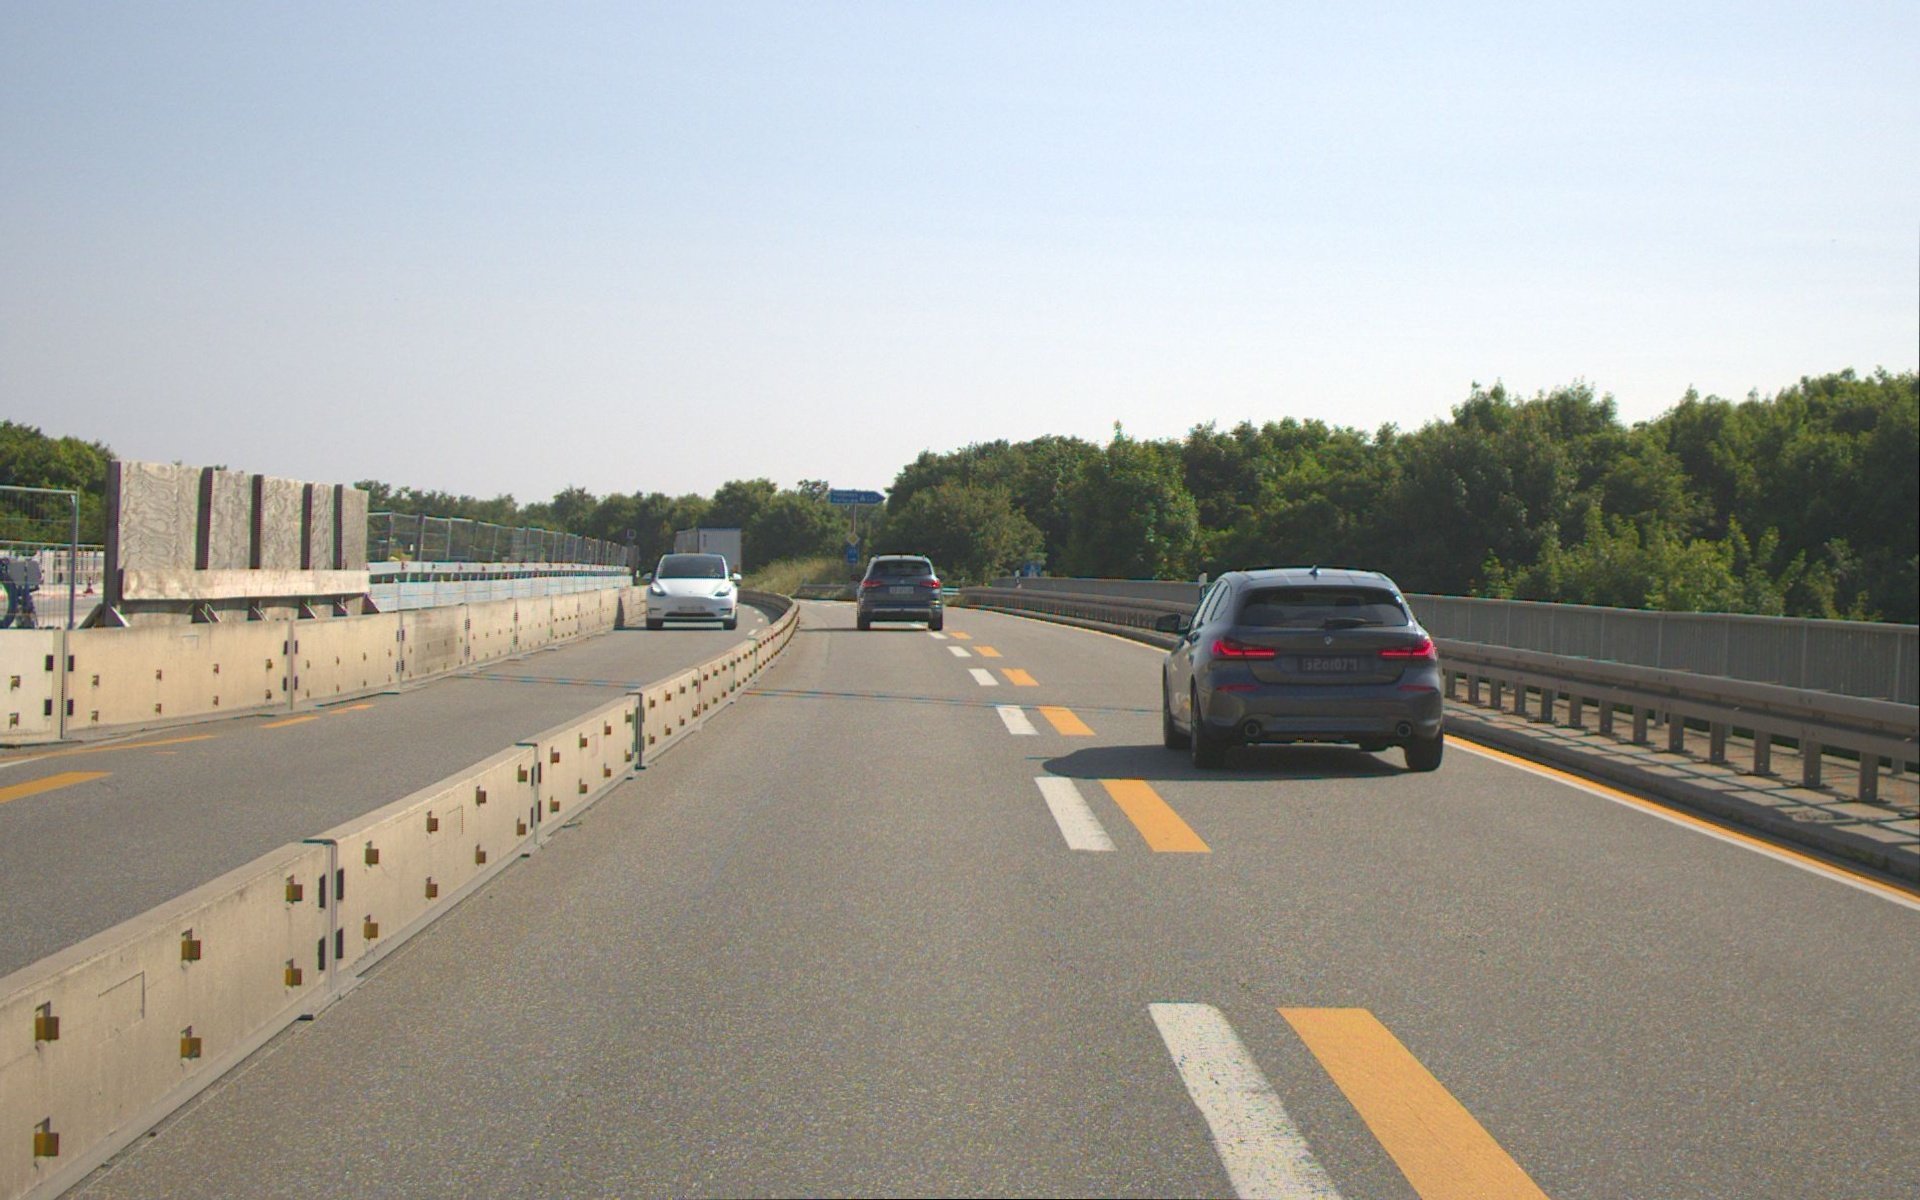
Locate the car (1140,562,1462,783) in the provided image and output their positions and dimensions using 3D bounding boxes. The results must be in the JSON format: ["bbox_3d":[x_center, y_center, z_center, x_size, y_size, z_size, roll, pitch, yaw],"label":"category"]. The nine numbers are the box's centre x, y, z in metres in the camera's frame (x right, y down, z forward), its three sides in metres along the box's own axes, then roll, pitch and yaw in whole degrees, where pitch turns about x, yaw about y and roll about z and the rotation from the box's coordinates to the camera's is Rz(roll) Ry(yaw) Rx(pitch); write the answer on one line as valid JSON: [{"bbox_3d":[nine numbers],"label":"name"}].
[{"bbox_3d":[2.457,0.480,25.710,1.920,1.488,4.000,0,1,-1],"label":"car"}]

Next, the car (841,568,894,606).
[{"bbox_3d":[-4.346,-0.633,160.967,1.993,1.682,4.001,2,1,-8],"label":"car"}]

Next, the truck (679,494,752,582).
[{"bbox_3d":[-14.541,-3.700,203.503,3.760,4.894,14.139,2,1,-6],"label":"truck"}]

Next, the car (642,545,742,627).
[{"bbox_3d":[-5.786,-0.328,74.692,1.982,1.645,4.549,2,1,-3],"label":"car"}]

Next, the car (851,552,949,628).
[{"bbox_3d":[-1.262,-0.232,74.021,1.993,1.561,4.000,1,1,1],"label":"car"}]
